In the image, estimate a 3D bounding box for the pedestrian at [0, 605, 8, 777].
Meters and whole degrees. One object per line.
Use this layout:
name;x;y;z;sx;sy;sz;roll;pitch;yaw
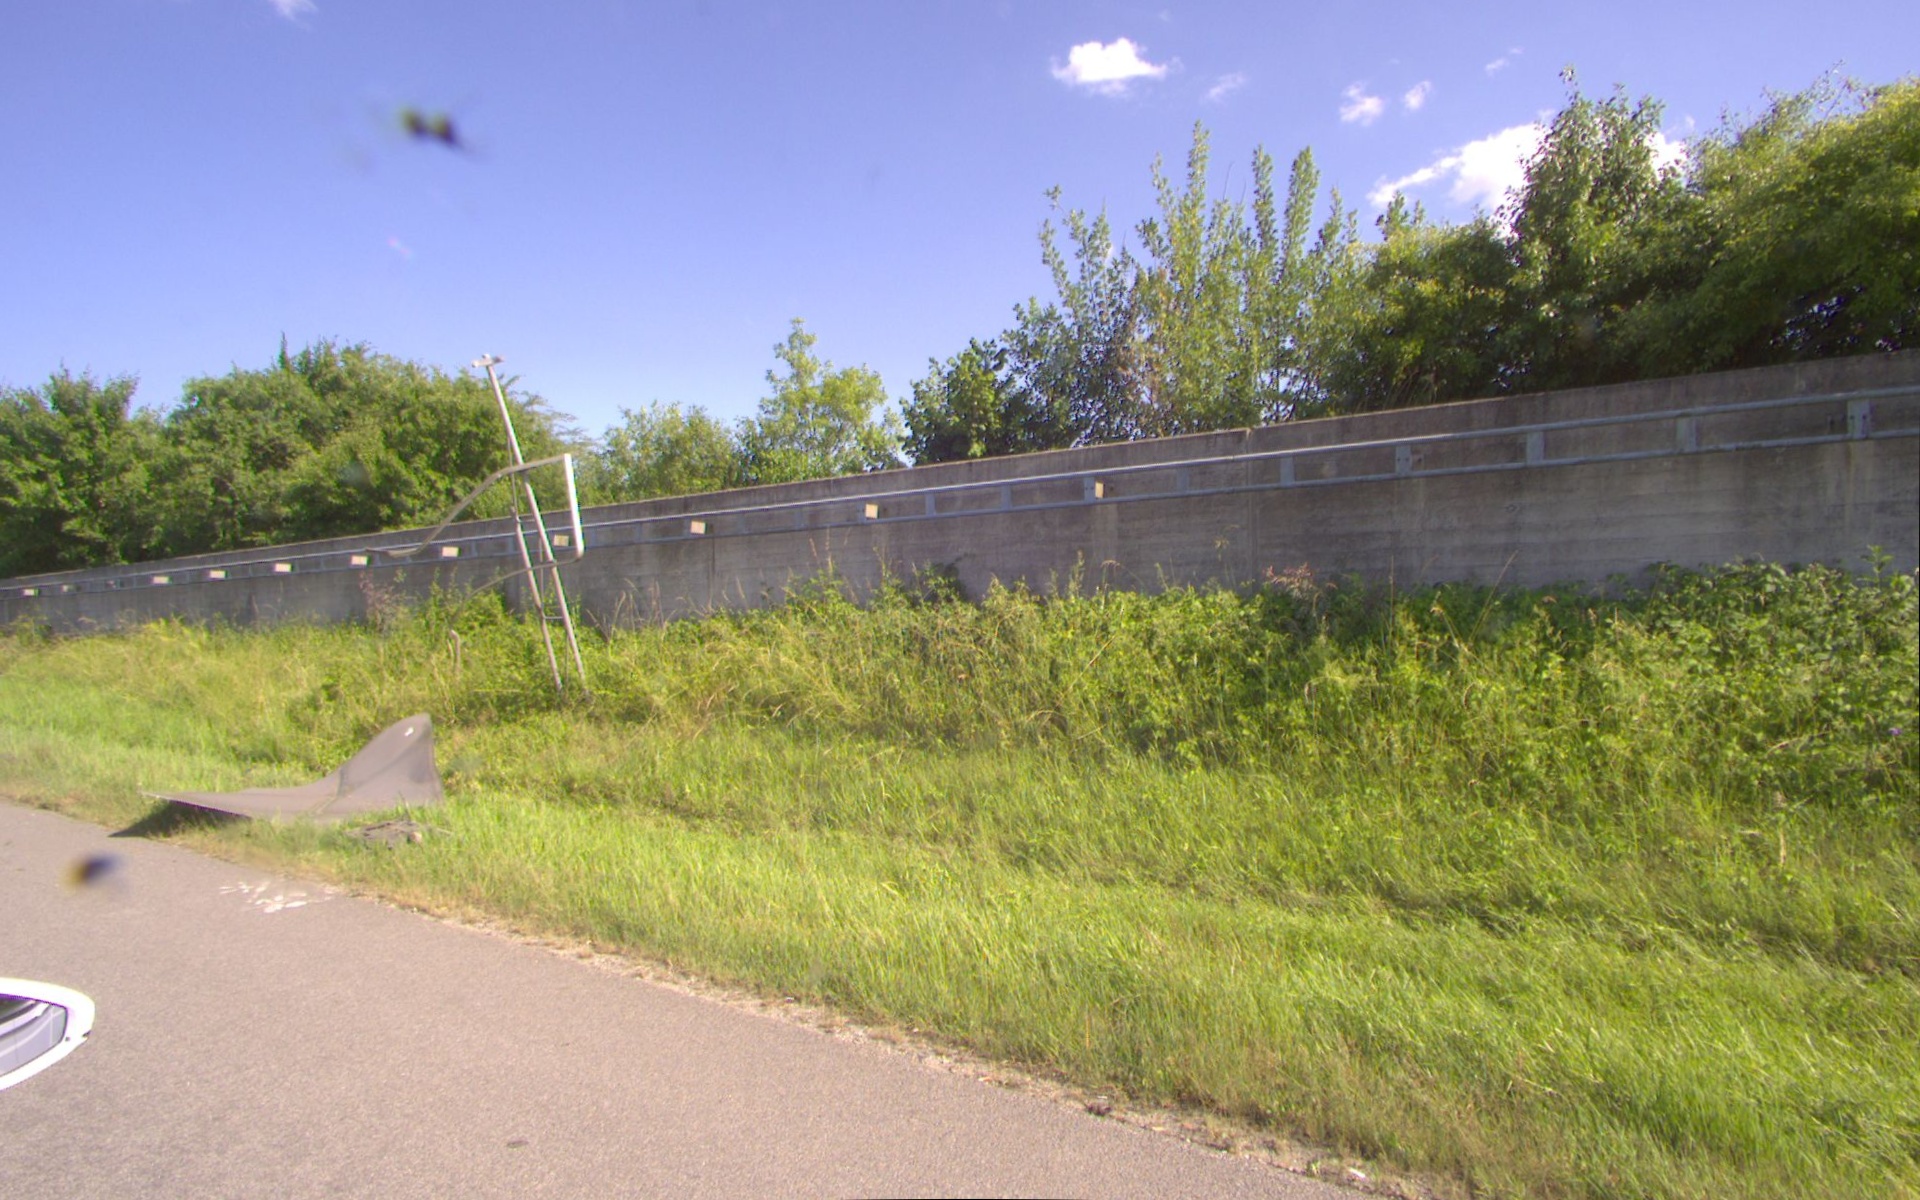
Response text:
pedestrian;-10.081;0.893;9.655;1.265;1.675;0.951;-1;0;-44
